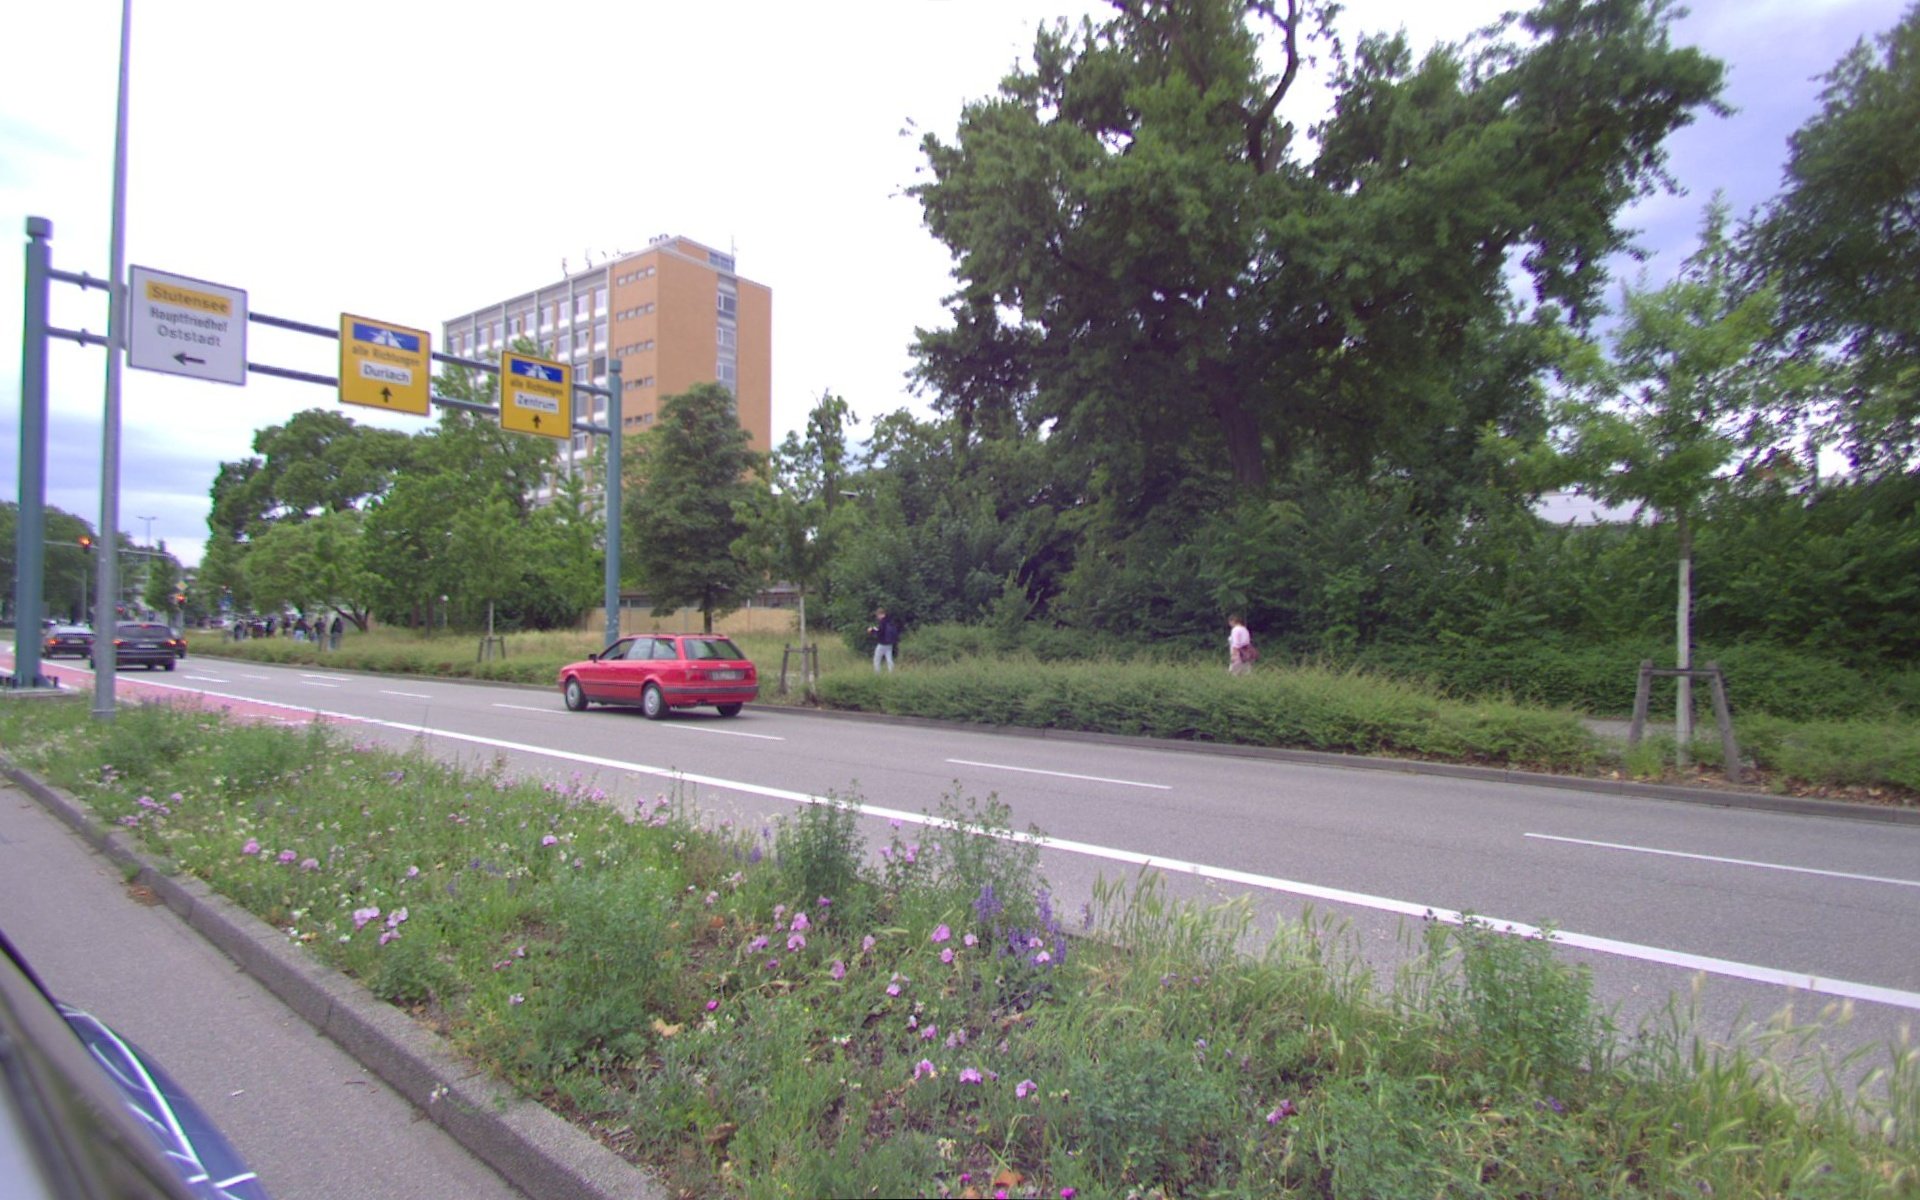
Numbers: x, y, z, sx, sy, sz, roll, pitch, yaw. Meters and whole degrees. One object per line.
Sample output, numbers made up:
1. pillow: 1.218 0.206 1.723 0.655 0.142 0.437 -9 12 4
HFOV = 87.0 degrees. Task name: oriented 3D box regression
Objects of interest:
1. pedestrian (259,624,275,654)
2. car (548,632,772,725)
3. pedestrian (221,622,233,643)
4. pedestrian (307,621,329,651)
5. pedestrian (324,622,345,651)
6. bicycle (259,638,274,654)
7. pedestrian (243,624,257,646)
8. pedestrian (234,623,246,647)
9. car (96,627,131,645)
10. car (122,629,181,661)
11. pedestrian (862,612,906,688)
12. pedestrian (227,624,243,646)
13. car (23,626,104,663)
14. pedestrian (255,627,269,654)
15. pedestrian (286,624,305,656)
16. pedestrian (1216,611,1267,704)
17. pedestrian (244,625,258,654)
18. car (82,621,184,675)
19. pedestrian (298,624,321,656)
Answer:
1. pedestrian: -39.342 2.217 57.472 0.652 1.644 0.765 3 -4 -34
2. car: -5.322 1.288 17.676 4.292 1.429 1.696 -2 -3 41
3. pedestrian: -59.114 2.589 81.616 0.890 1.683 0.698 -2 -1 44
4. pedestrian: -30.546 1.716 48.164 0.711 1.368 0.638 -2 -4 40
5. pedestrian: -30.084 1.760 48.681 0.680 1.373 0.638 -2 -4 39
6. bicycle: -39.346 2.612 57.452 0.652 0.894 1.719 3 -3 -34
7. pedestrian: -49.278 2.442 70.272 0.762 1.491 0.628 -2 -4 44
8. pedestrian: -55.390 2.680 77.865 0.762 1.815 0.630 -2 -3 44
9. car: -85.851 3.630 102.692 1.785 1.680 3.962 2 -2 -27
10. car: -36.831 2.028 46.099 3.809 1.391 1.589 -2 -4 44
11. pedestrian: -1.775 1.168 23.762 0.818 1.742 0.613 -2 -4 41
12. pedestrian: -49.746 2.390 69.425 0.813 1.491 0.720 -2 -4 44
13. car: -38.526 1.881 43.448 4.785 1.471 1.747 -1 -4 38
14. pedestrian: -44.451 2.580 64.437 0.570 1.725 0.764 2 -3 -27
15. pedestrian: -34.808 2.086 53.004 0.719 1.673 0.580 -1 -4 35
16. pedestrian: 5.113 1.041 18.373 0.671 1.648 0.693 -2 -4 41
17. pedestrian: -39.955 2.236 57.061 0.567 1.621 0.618 3 -4 -33
18. car: -27.913 1.598 34.120 4.397 1.677 1.900 -1 -3 41
19. pedestrian: -34.424 2.116 53.560 0.766 1.685 0.700 -1 -4 35
